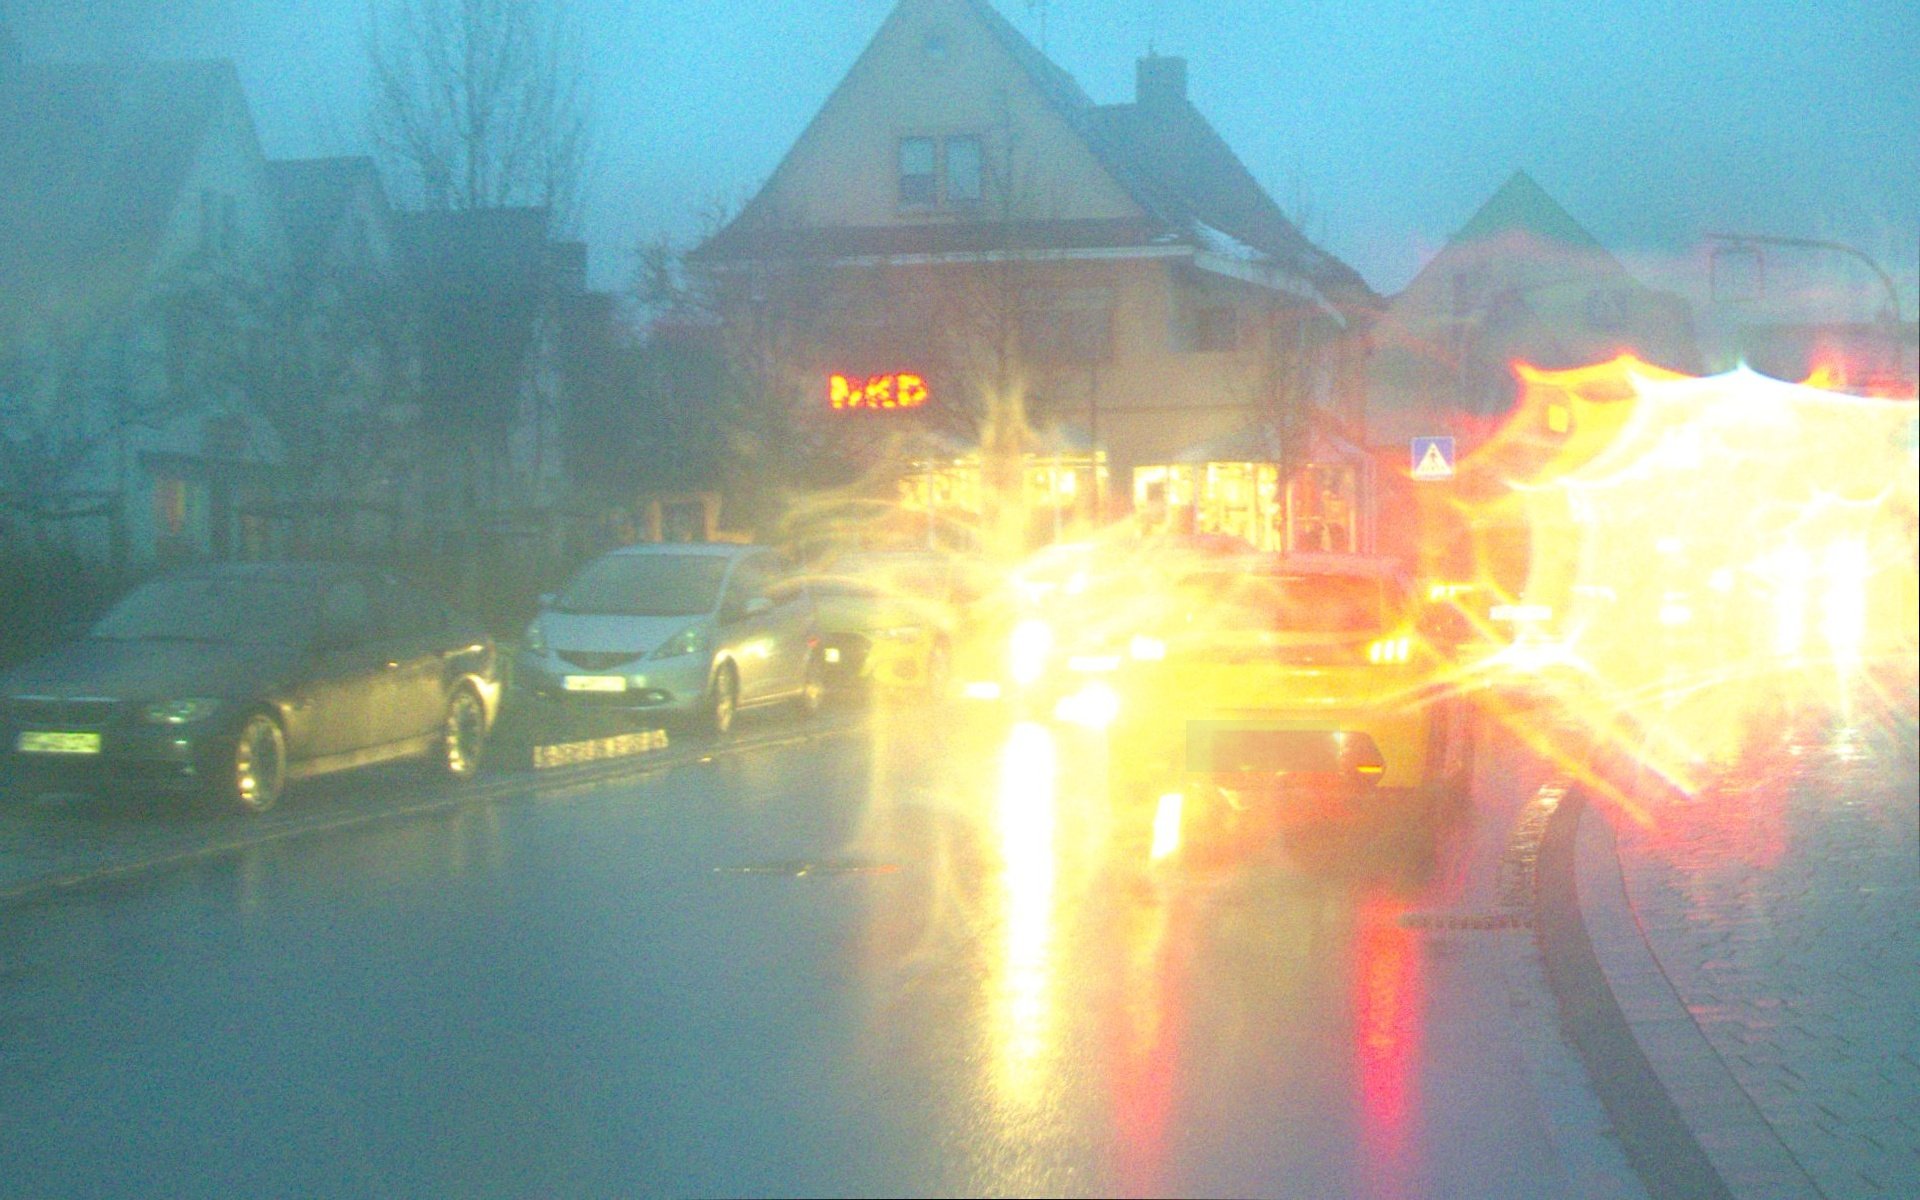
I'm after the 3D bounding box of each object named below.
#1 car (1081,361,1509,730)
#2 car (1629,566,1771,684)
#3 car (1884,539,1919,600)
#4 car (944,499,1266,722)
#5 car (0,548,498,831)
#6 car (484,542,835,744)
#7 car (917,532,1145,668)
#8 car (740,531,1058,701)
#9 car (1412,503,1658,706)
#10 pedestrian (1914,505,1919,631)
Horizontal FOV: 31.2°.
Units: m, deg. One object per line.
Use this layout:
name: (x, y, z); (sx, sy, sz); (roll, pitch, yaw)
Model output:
car: (1.996, -0.316, 19.130); (1.994, 1.789, 4.646); (0, 1, 10)
car: (9.521, 0.296, 44.055); (1.650, 1.437, 3.864); (0, 0, 14)
car: (21.768, -0.744, 77.421); (1.535, 1.241, 3.644); (-5, 0, 19)
car: (1.415, 0.036, 31.194); (2.142, 1.854, 4.740); (0, 1, 12)
car: (-4.455, 0.435, 20.517); (1.748, 1.467, 4.455); (1, 1, 15)
car: (-2.383, 0.295, 28.205); (1.693, 1.511, 3.770); (1, 1, 14)
car: (0.914, -0.030, 41.633); (1.671, 1.511, 3.997); (2, 1, 17)
car: (-0.521, 0.114, 33.733); (1.750, 1.511, 4.338); (2, 1, 18)
car: (5.162, 0.016, 30.478); (1.799, 1.656, 3.997); (1, 1, 14)
pedestrian: (14.742, -0.469, 51.610); (0.664, 1.881, 0.823); (1, 0, 24)
